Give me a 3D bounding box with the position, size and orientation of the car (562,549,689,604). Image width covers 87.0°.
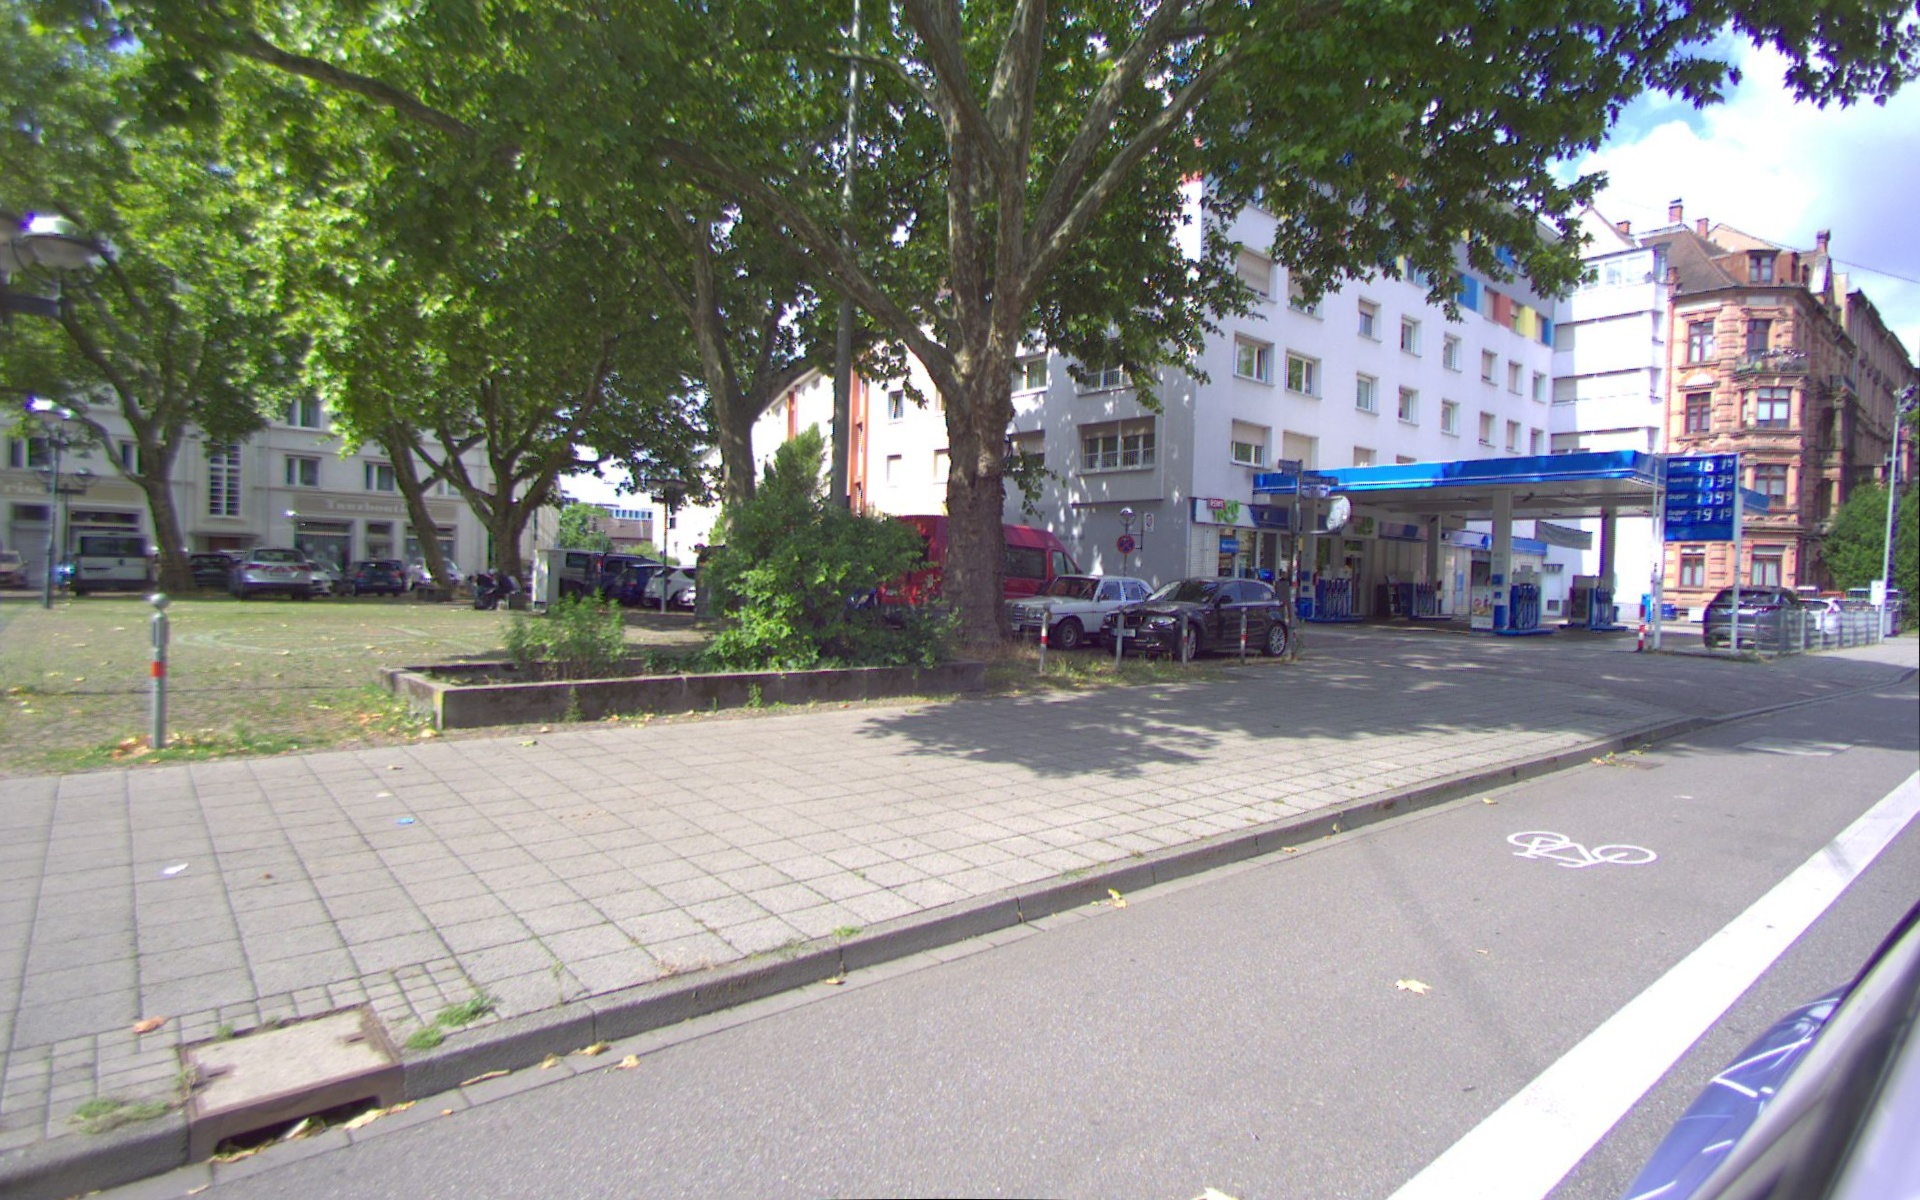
[{"bbox_3d":[-12.061,-0.817,36.668,3.979,1.843,1.824,1,0,-43],"label":"car"}]

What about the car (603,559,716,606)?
[{"bbox_3d":[-10.260,-0.586,34.658,3.320,1.527,1.600,1,0,-43],"label":"car"}]

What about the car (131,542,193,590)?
[{"bbox_3d":[-35.223,-1.508,44.619,2.001,1.953,4.692,0,2,-40],"label":"car"}]

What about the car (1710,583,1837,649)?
[{"bbox_3d":[21.980,0.392,27.288,4.501,1.622,1.810,0,1,-40],"label":"car"}]

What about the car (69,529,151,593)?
[{"bbox_3d":[-29.281,-1.352,34.905,2.040,2.038,4.264,0,2,-40],"label":"car"}]

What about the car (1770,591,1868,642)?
[{"bbox_3d":[27.215,0.489,32.027,3.932,1.473,1.809,0,1,-41],"label":"car"}]

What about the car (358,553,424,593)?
[{"bbox_3d":[-28.216,-1.367,50.102,2.151,1.827,4.695,0,2,-38],"label":"car"}]

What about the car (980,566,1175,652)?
[{"bbox_3d":[2.373,0.140,19.793,3.976,1.488,1.650,0,2,-44],"label":"car"}]

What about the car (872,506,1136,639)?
[{"bbox_3d":[1.108,-0.556,22.491,5.911,2.614,2.117,1,2,-39],"label":"car"}]

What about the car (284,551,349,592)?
[{"bbox_3d":[-30.847,-1.383,48.450,2.151,1.827,4.757,0,2,-38],"label":"car"}]

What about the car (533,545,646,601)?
[{"bbox_3d":[-13.955,-0.995,38.194,3.581,2.012,1.825,0,2,-43],"label":"car"}]

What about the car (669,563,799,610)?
[{"bbox_3d":[-6.916,-0.399,31.143,3.581,1.380,1.582,1,0,-43],"label":"car"}]

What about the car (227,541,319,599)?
[{"bbox_3d":[-21.190,-0.927,31.148,1.964,1.656,4.162,0,2,-40],"label":"car"}]

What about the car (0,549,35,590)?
[{"bbox_3d":[-39.069,-1.284,41.079,2.001,1.569,4.692,0,2,-40],"label":"car"}]

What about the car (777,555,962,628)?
[{"bbox_3d":[-2.351,-0.202,26.971,4.568,1.776,2.011,1,0,-39],"label":"car"}]

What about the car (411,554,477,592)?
[{"bbox_3d":[-26.330,-1.389,51.575,2.151,1.827,4.757,0,2,-38],"label":"car"}]

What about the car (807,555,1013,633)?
[{"bbox_3d":[-1.113,-0.120,23.959,4.568,1.672,2.011,1,0,-39],"label":"car"}]

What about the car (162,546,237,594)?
[{"bbox_3d":[-27.506,-1.111,36.555,1.964,1.614,4.264,0,2,-40],"label":"car"}]

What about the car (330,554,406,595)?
[{"bbox_3d":[-23.815,-1.035,40.630,1.964,1.543,4.162,0,2,-40],"label":"car"}]

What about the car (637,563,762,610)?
[{"bbox_3d":[-8.408,-0.422,32.839,3.581,1.433,1.647,1,0,-43],"label":"car"}]

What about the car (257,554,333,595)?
[{"bbox_3d":[-25.042,-0.982,38.070,1.924,1.439,4.174,0,2,-40],"label":"car"}]

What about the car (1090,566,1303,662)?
[{"bbox_3d":[4.236,0.206,17.826,3.973,1.488,1.651,0,2,-42],"label":"car"}]
